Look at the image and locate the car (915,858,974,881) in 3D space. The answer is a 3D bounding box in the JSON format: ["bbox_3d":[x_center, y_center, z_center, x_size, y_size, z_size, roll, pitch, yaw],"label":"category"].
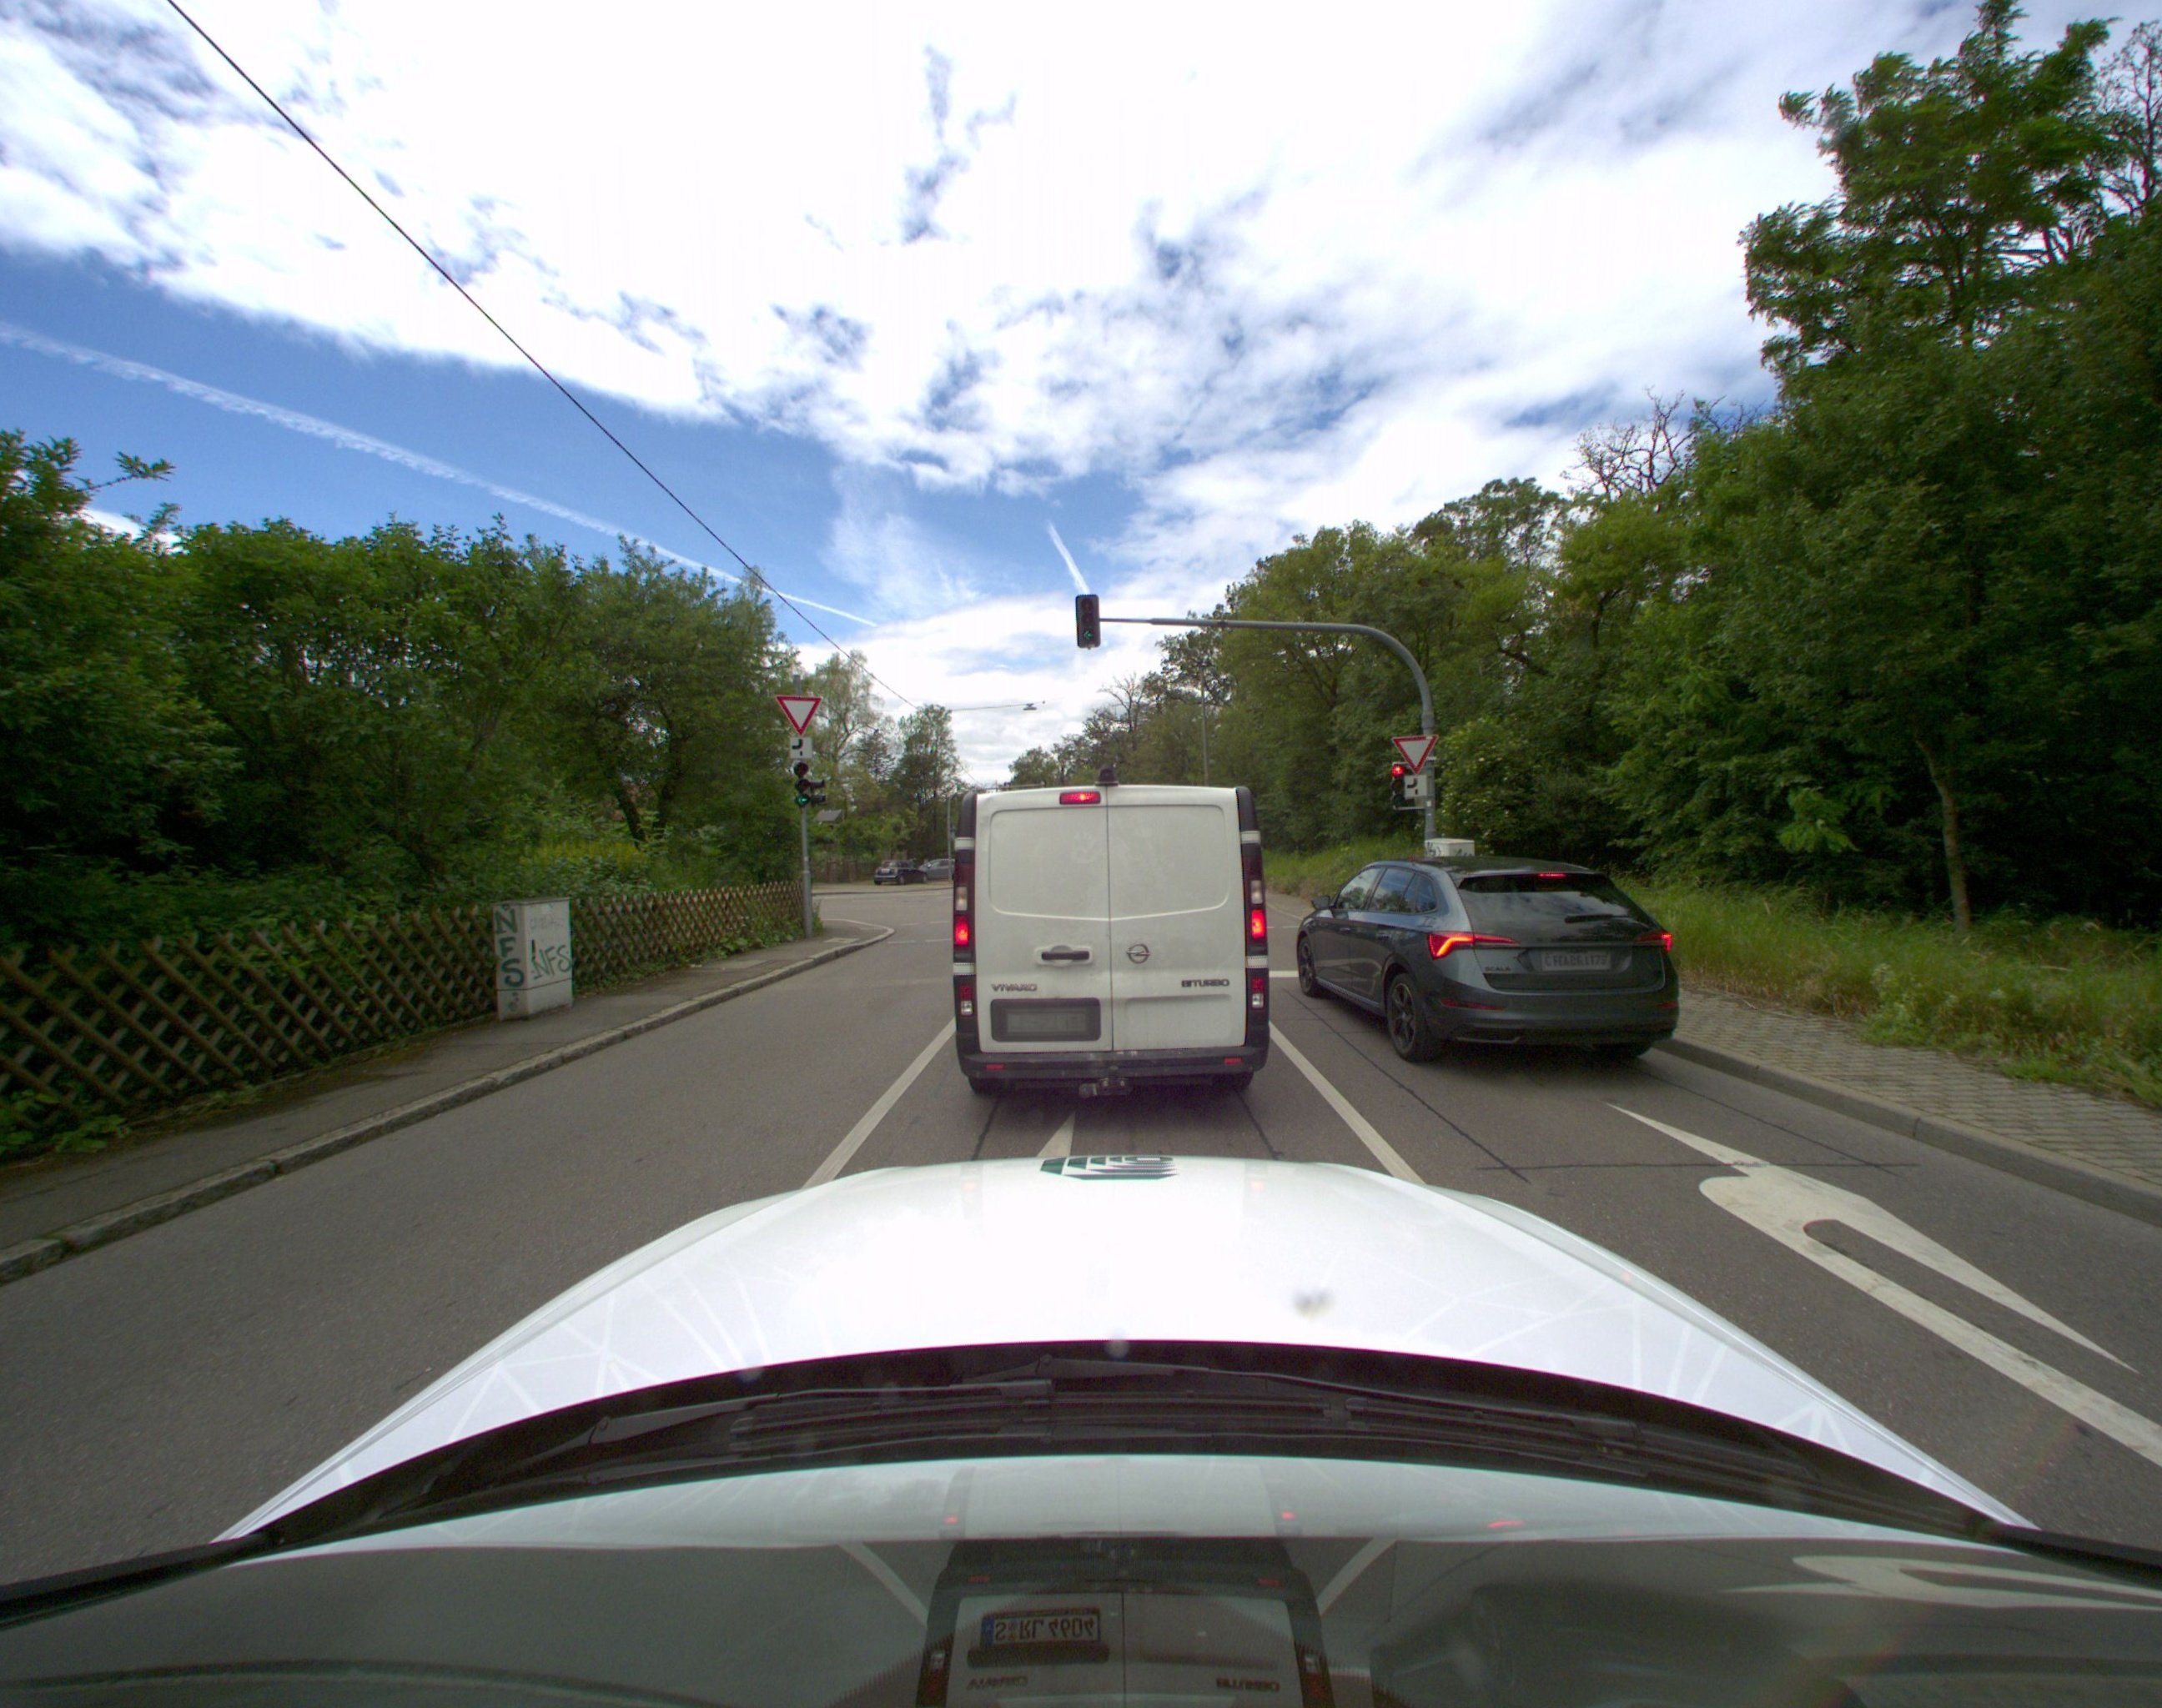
[{"bbox_3d":[-10.046,1.105,59.684,4.094,1.553,1.845,-2,1,-16],"label":"car"}]

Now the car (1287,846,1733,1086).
[{"bbox_3d":[3.179,0.690,7.077,1.786,1.450,4.000,-1,0,1],"label":"car"}]

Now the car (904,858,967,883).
[{"bbox_3d":[-10.133,1.107,56.665,4.094,1.553,1.845,-2,1,-16],"label":"car"}]

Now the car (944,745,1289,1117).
[{"bbox_3d":[0.193,0.418,6.821,1.910,2.053,4.613,0,0,0],"label":"car"}]

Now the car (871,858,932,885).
[{"bbox_3d":[-10.165,0.953,46.411,1.683,1.449,3.562,1,0,22],"label":"car"}]
